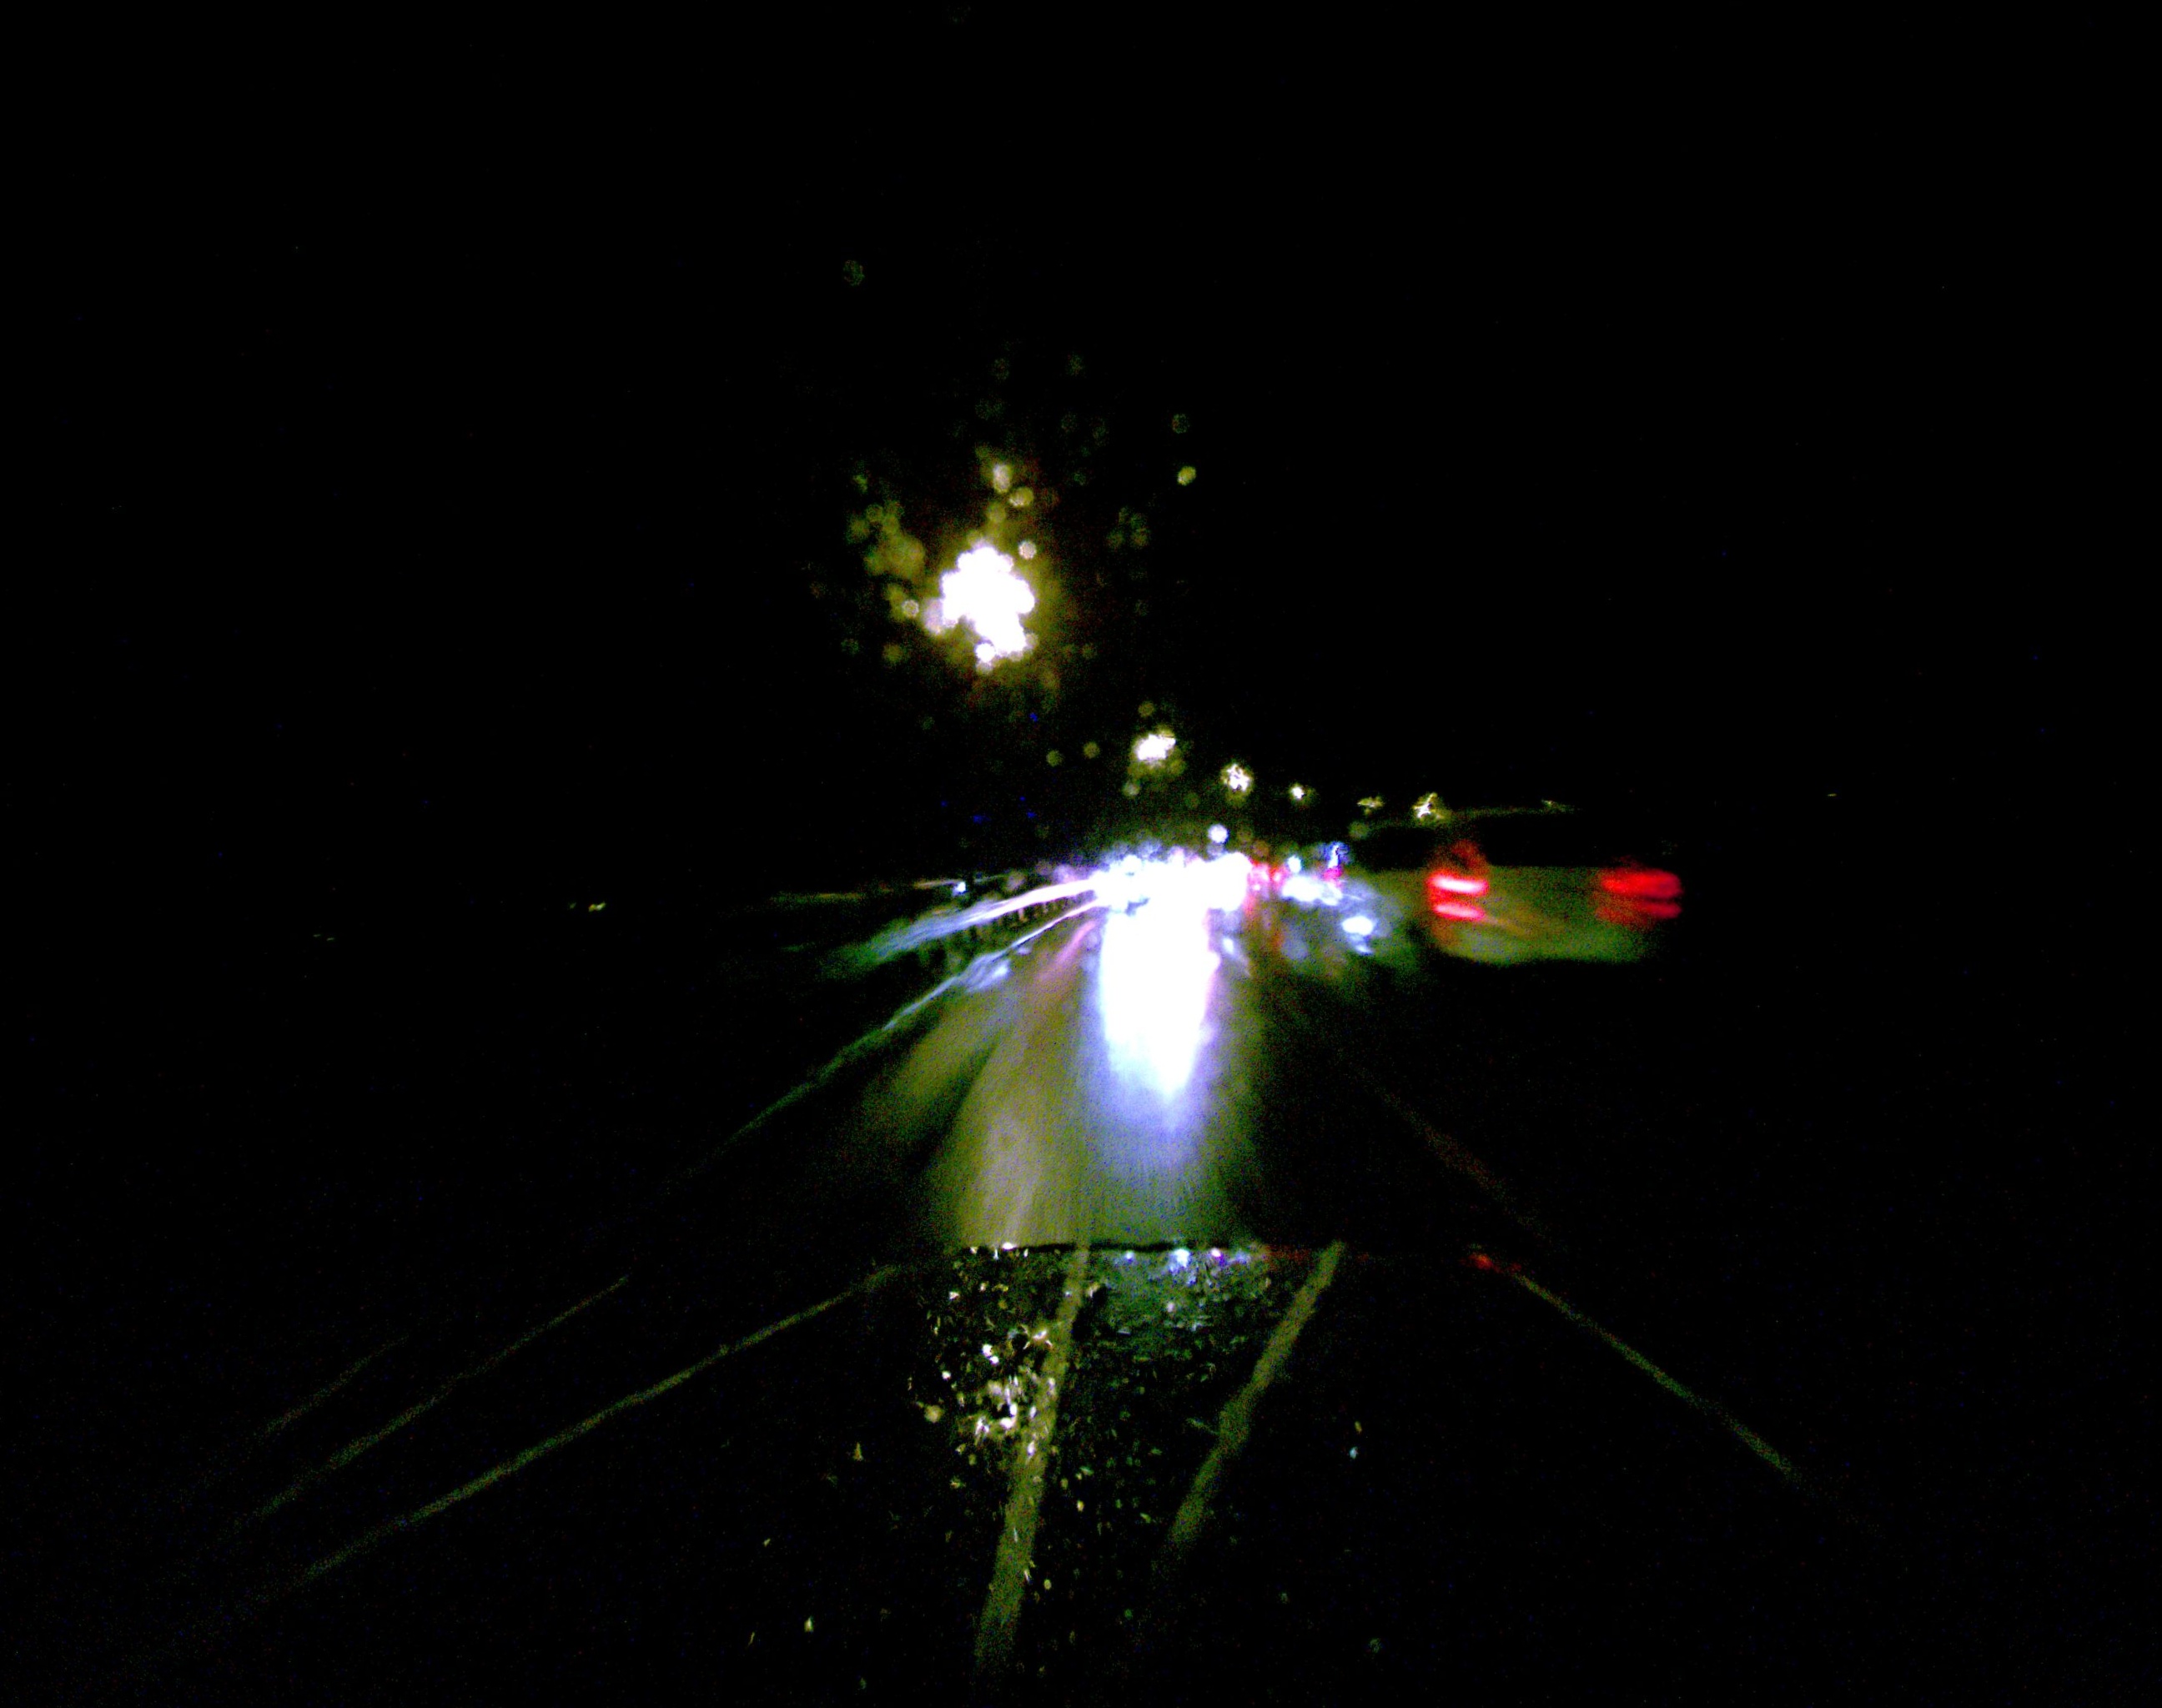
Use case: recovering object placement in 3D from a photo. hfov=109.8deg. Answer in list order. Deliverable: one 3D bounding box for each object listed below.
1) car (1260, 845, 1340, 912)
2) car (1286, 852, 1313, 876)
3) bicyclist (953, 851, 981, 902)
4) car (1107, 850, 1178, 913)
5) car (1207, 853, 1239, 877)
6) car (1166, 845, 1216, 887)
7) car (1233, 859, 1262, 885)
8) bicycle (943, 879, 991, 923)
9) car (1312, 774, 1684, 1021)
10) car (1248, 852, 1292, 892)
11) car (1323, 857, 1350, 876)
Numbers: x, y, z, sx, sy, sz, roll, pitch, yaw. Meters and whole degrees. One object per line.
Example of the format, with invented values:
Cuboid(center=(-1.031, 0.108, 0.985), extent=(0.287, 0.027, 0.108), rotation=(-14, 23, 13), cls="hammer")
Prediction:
Cuboid(center=(6.094, 0.622, 21.482), extent=(1.795, 1.621, 3.995), rotation=(-2, 1, 11), cls="car")
Cuboid(center=(21.834, 1.003, 75.791), extent=(1.653, 1.999, 4.009), rotation=(-9, -7, 26), cls="car")
Cuboid(center=(-3.073, 0.588, 20.551), extent=(0.453, 1.341, 0.765), rotation=(-2, 0, 13), cls="bicyclist")
Cuboid(center=(1.902, 0.809, 23.361), extent=(1.927, 1.704, 4.241), rotation=(1, -1, 5), cls="car")
Cuboid(center=(9.446, 0.731, 50.345), extent=(1.520, 1.516, 3.112), rotation=(-1, -1, 21), cls="car")
Cuboid(center=(5.534, 0.628, 37.940), extent=(1.996, 2.001, 4.006), rotation=(0, -1, 15), cls="car")
Cuboid(center=(13.236, 1.390, 60.341), extent=(1.304, 1.520, 3.049), rotation=(-12, 0, 25), cls="car")
Cuboid(center=(-3.051, 1.239, 20.591), extent=(0.485, 1.028, 2.174), rotation=(-2, 0, 13), cls="bicycle")
Cuboid(center=(4.455, 0.375, 9.293), extent=(2.048, 2.157, 5.155), rotation=(-1, 1, 5), cls="car")
Cuboid(center=(8.531, 0.765, 34.523), extent=(1.781, 1.694, 4.318), rotation=(-1, 0, 12), cls="car")
Cuboid(center=(29.770, 1.497, 88.348), extent=(1.652, 1.999, 4.010), rotation=(-10, -7, 34), cls="car")
